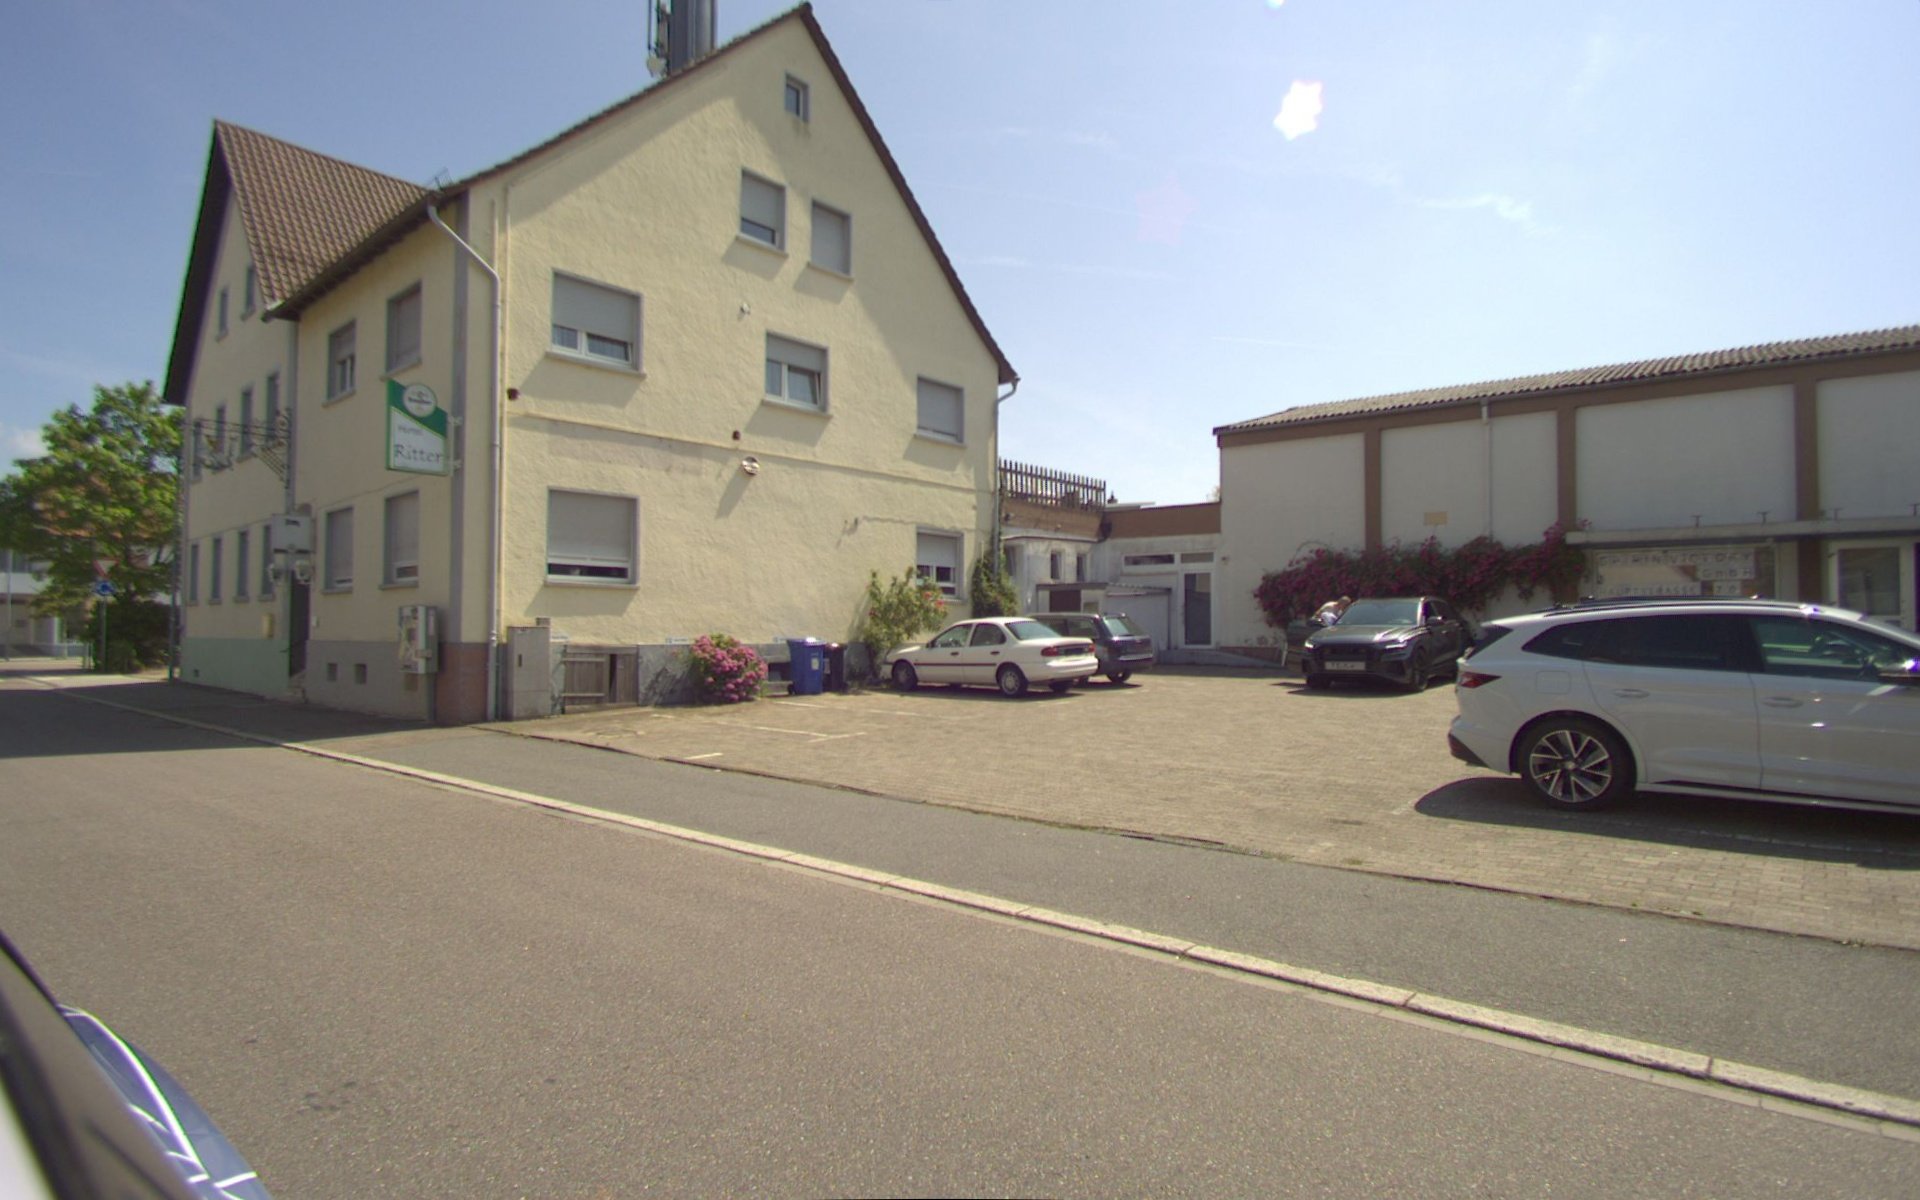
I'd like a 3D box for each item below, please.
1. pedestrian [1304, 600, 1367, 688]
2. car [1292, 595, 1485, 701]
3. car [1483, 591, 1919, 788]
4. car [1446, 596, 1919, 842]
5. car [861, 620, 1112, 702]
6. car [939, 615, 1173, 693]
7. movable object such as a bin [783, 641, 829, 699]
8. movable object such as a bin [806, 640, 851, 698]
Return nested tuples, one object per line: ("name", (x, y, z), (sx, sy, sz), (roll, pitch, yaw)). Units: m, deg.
("pedestrian", (7.374, 0.855, 19.880), (0.817, 1.670, 0.787), (0, -1, -16))
("car", (8.185, 0.840, 19.098), (2.036, 1.738, 4.632), (-2, -2, 40))
("car", (7.731, 0.779, 9.768), (4.475, 1.632, 1.756), (-2, -2, 40))
("car", (6.279, 0.792, 7.570), (4.474, 1.582, 1.756), (-2, -2, 39))
("car", (0.399, 1.102, 19.576), (4.828, 1.390, 1.805), (-2, -2, 42))
("car", (1.939, 1.089, 21.532), (4.828, 1.492, 1.805), (-2, -2, 42))
("movable object such as a bin", (-2.965, 1.334, 19.436), (0.680, 1.080, 0.571), (-2, -2, 42))
("movable object such as a bin", (-2.585, 1.343, 19.889), (0.680, 1.080, 0.571), (-2, -2, 42))
